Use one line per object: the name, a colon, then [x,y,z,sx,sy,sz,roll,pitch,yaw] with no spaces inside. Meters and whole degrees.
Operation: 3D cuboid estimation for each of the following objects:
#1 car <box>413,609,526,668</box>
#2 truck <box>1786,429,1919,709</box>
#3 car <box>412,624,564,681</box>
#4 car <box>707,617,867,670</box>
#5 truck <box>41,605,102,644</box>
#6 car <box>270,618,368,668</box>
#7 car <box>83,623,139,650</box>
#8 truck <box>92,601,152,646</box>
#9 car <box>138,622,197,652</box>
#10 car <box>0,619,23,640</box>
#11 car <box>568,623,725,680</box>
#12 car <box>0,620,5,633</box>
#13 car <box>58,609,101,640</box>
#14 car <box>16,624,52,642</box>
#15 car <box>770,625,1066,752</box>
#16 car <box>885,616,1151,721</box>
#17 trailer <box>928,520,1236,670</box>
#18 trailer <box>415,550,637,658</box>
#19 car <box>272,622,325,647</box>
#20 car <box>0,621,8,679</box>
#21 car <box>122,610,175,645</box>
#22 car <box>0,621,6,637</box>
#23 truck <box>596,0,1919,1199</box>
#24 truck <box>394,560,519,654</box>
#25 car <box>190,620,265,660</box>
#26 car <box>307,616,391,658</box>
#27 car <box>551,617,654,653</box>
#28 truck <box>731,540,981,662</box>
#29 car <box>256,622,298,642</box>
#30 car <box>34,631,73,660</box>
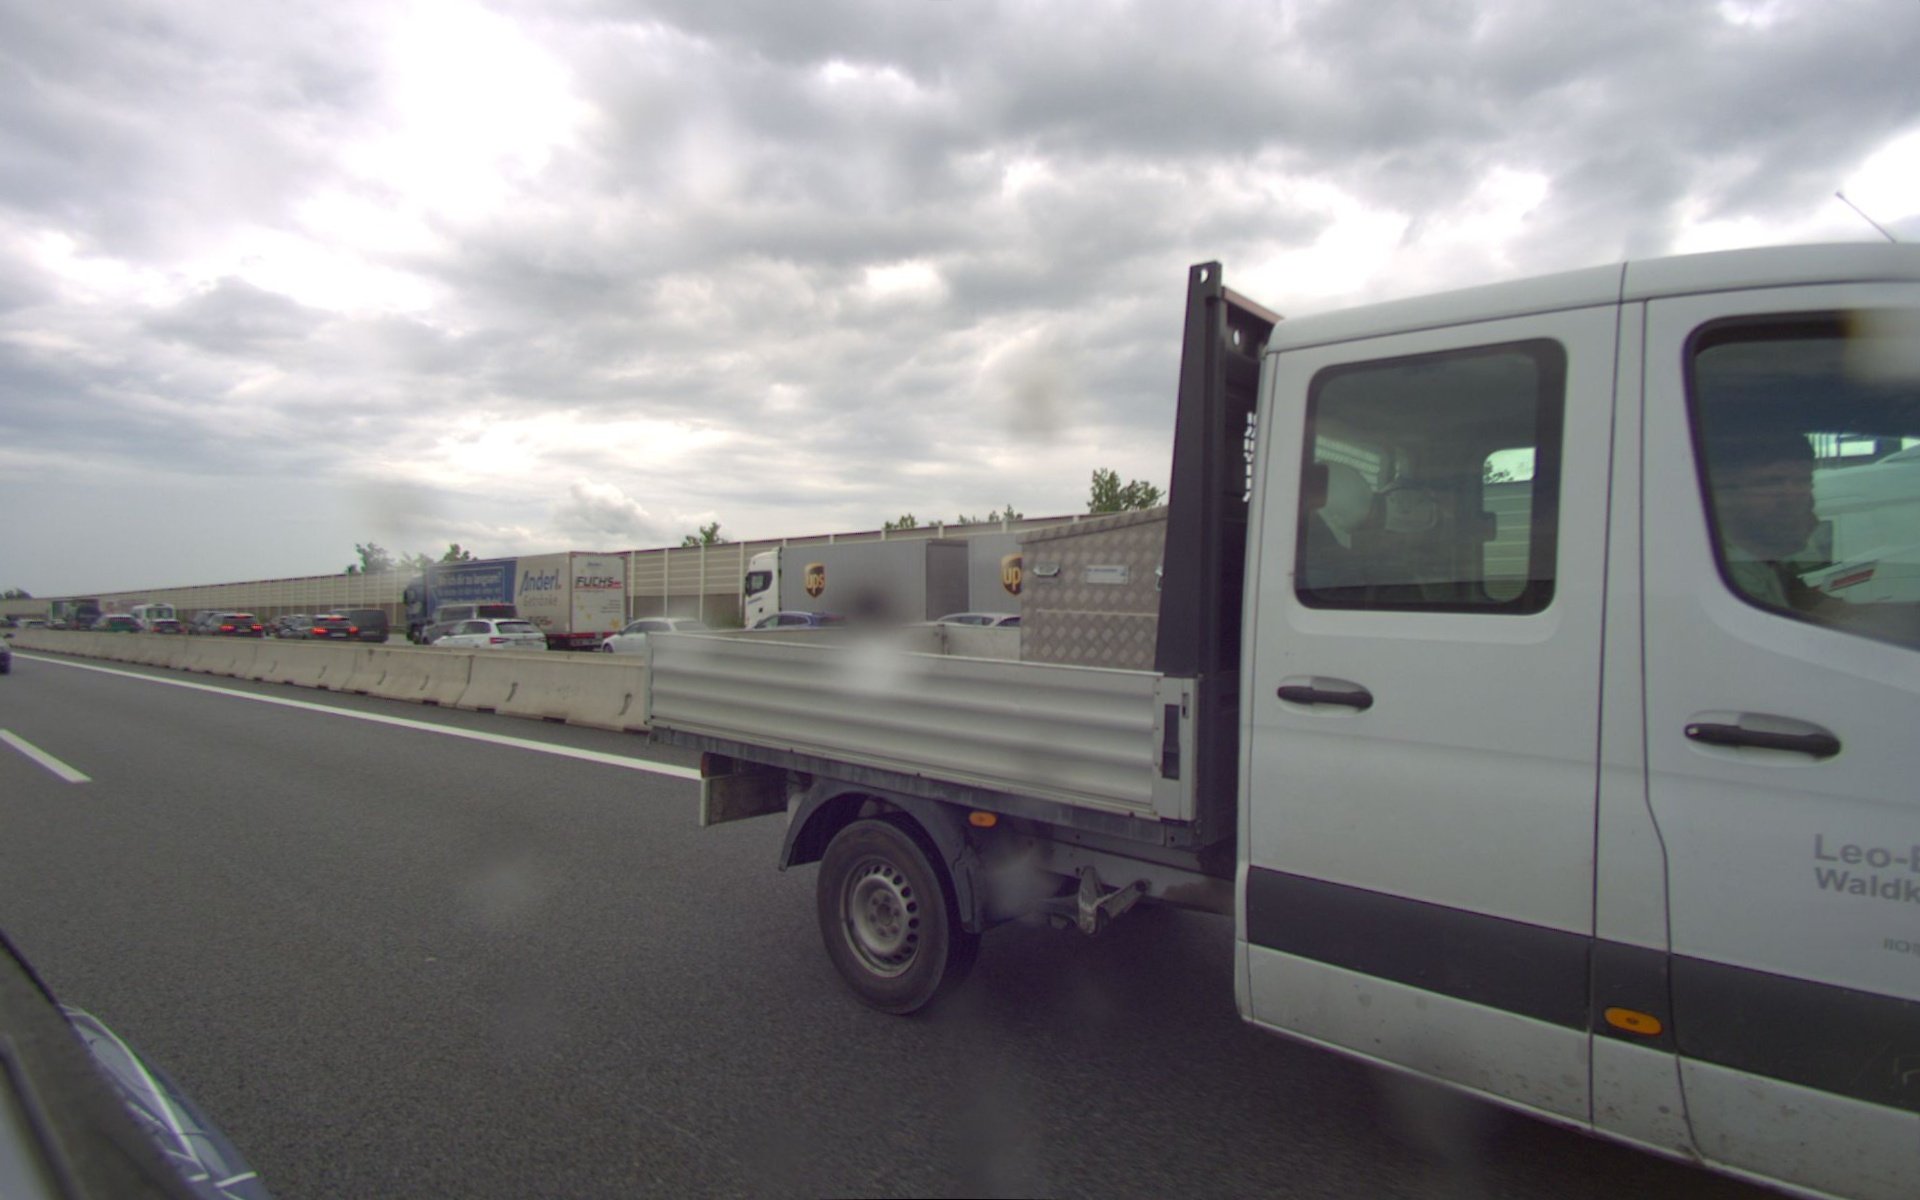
car: [-19.217,1.455,39.514,5.430,2.175,2.039,-1,-2,42]
truck: [17.647,-0.498,12.747,11.063,3.975,2.906,-1,-2,42]
car: [-14.381,1.517,30.664,5.805,1.576,2.039,-1,-1,42]
car: [-5.774,1.371,33.243,5.805,1.612,2.039,-1,-1,42]
truck: [-117.520,3.276,133.737,17.214,4.894,3.404,-1,-1,40]
car: [-26.045,1.702,41.036,5.430,1.912,1.913,-1,-2,42]
car: [-55.155,2.345,65.723,4.690,1.644,1.901,-1,-1,39]
truck: [-95.595,2.646,115.292,11.688,4.894,3.185,-1,-2,40]
car: [-45.474,2.092,58.053,4.205,1.644,1.794,-1,-1,40]
car: [-89.814,2.778,95.132,4.928,1.950,1.923,-1,-1,40]
car: [-10.009,1.562,32.046,5.805,1.612,2.039,-1,-1,42]
car: [-140.339,3.849,146.682,4.928,1.950,2.094,-1,-1,40]
car: [-80.156,2.209,92.146,4.926,2.770,2.106,-1,-1,39]
car: [-79.526,2.830,86.935,4.358,1.516,1.621,-1,-1,39]
car: [-0.962,1.495,19.041,5.805,2.018,2.039,-1,-2,42]
car: [1.119,1.377,22.159,5.805,2.018,2.039,-1,-2,42]
trailer: [3.342,-0.043,30.336,9.279,3.901,2.693,-1,-2,41]
trailer: [-19.700,0.305,45.078,14.304,4.192,3.027,-1,-2,40]
car: [-42.303,2.206,64.669,4.358,1.516,1.554,-1,-1,39]
car: [-25.303,1.241,25.493,3.999,1.413,1.558,-1,-1,42]
car: [-60.724,2.048,75.671,5.143,2.492,2.006,-1,-1,39]
car: [-120.606,3.585,125.922,4.928,1.950,2.094,-1,-1,40]
truck: [1.774,0.219,3.086,7.145,2.458,2.283,-1,-1,41]
truck: [-24.505,0.395,49.137,6.687,4.277,3.040,-1,-2,40]
car: [-36.622,1.950,50.563,5.424,1.905,1.899,-1,-2,42]
car: [-29.206,1.721,48.294,5.430,1.912,1.913,-1,-2,42]
car: [-16.934,1.612,47.765,5.805,1.612,2.039,-1,-1,42]
truck: [-4.091,0.133,36.878,10.494,3.928,2.658,-1,-2,41]
car: [-53.948,2.488,79.901,4.358,1.516,1.554,-1,-1,39]
car: [-90.199,4.520,100.712,4.926,2.770,2.106,-1,-1,39]
